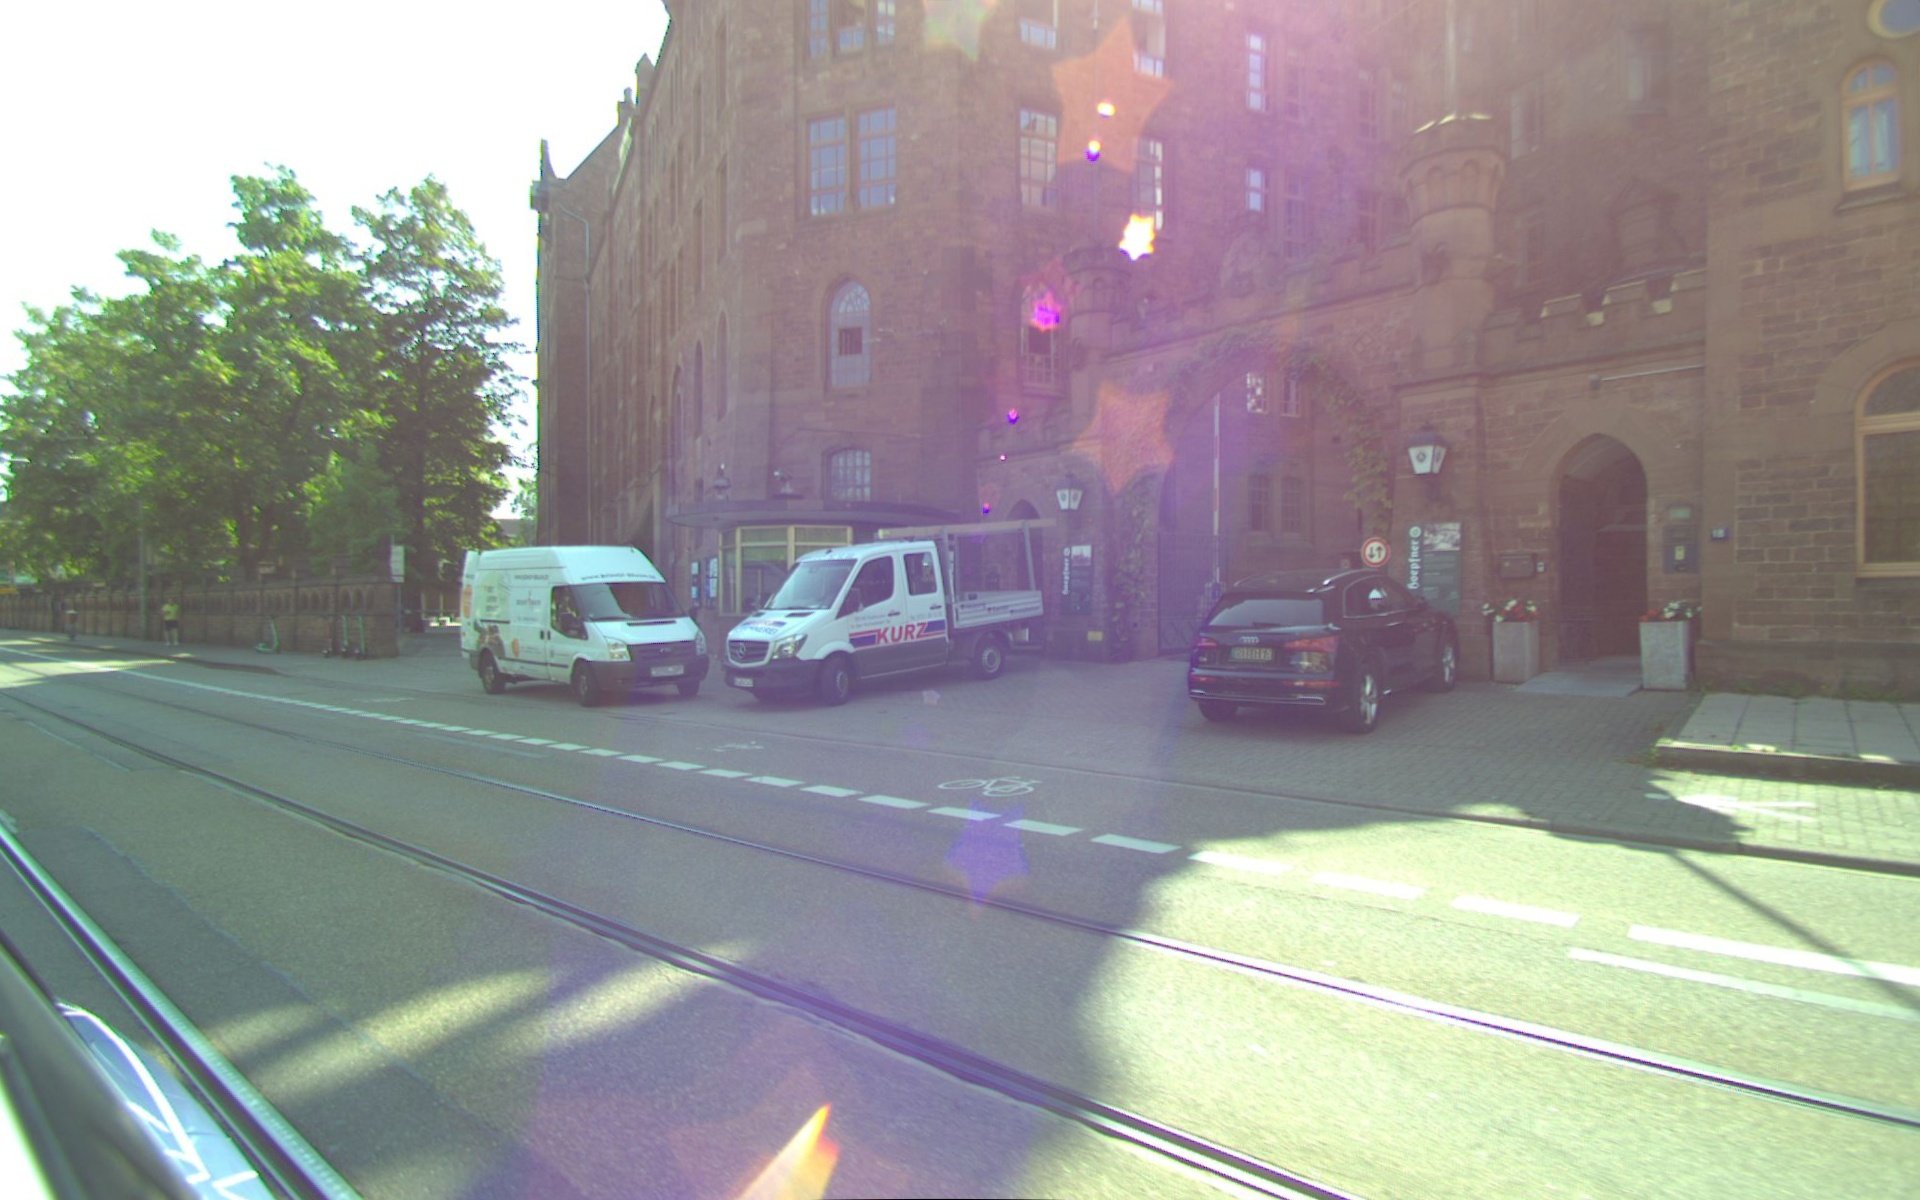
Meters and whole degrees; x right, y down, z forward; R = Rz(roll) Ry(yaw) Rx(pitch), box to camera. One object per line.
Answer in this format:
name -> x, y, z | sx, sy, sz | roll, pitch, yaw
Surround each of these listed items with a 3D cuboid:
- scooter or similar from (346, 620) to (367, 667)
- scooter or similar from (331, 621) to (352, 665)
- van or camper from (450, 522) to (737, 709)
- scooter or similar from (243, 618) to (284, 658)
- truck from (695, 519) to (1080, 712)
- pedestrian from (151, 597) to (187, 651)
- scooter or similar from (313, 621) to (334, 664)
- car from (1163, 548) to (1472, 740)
scooter or similar -> -16.087, 1.148, 26.975 | 0.334, 1.187, 1.182 | -1, 0, -24
scooter or similar -> -16.933, 1.165, 27.730 | 0.334, 1.187, 1.182 | -1, 0, -24
van or camper -> -6.475, 0.261, 17.381 | 5.954, 2.695, 2.090 | -1, 0, 42
scooter or similar -> -21.337, 1.156, 30.996 | 1.309, 1.187, 0.418 | -1, 0, 25
truck -> -0.906, 0.074, 16.458 | 6.249, 2.557, 2.132 | -5, 1, -45
pedestrian -> -30.021, 0.909, 38.422 | 0.982, 2.029, 0.855 | -1, 0, 39
scooter or similar -> -17.875, 1.182, 28.430 | 0.334, 1.187, 1.182 | -1, 0, -24
car -> 4.320, 0.358, 11.830 | 1.999, 1.756, 4.093 | -1, 2, 41
